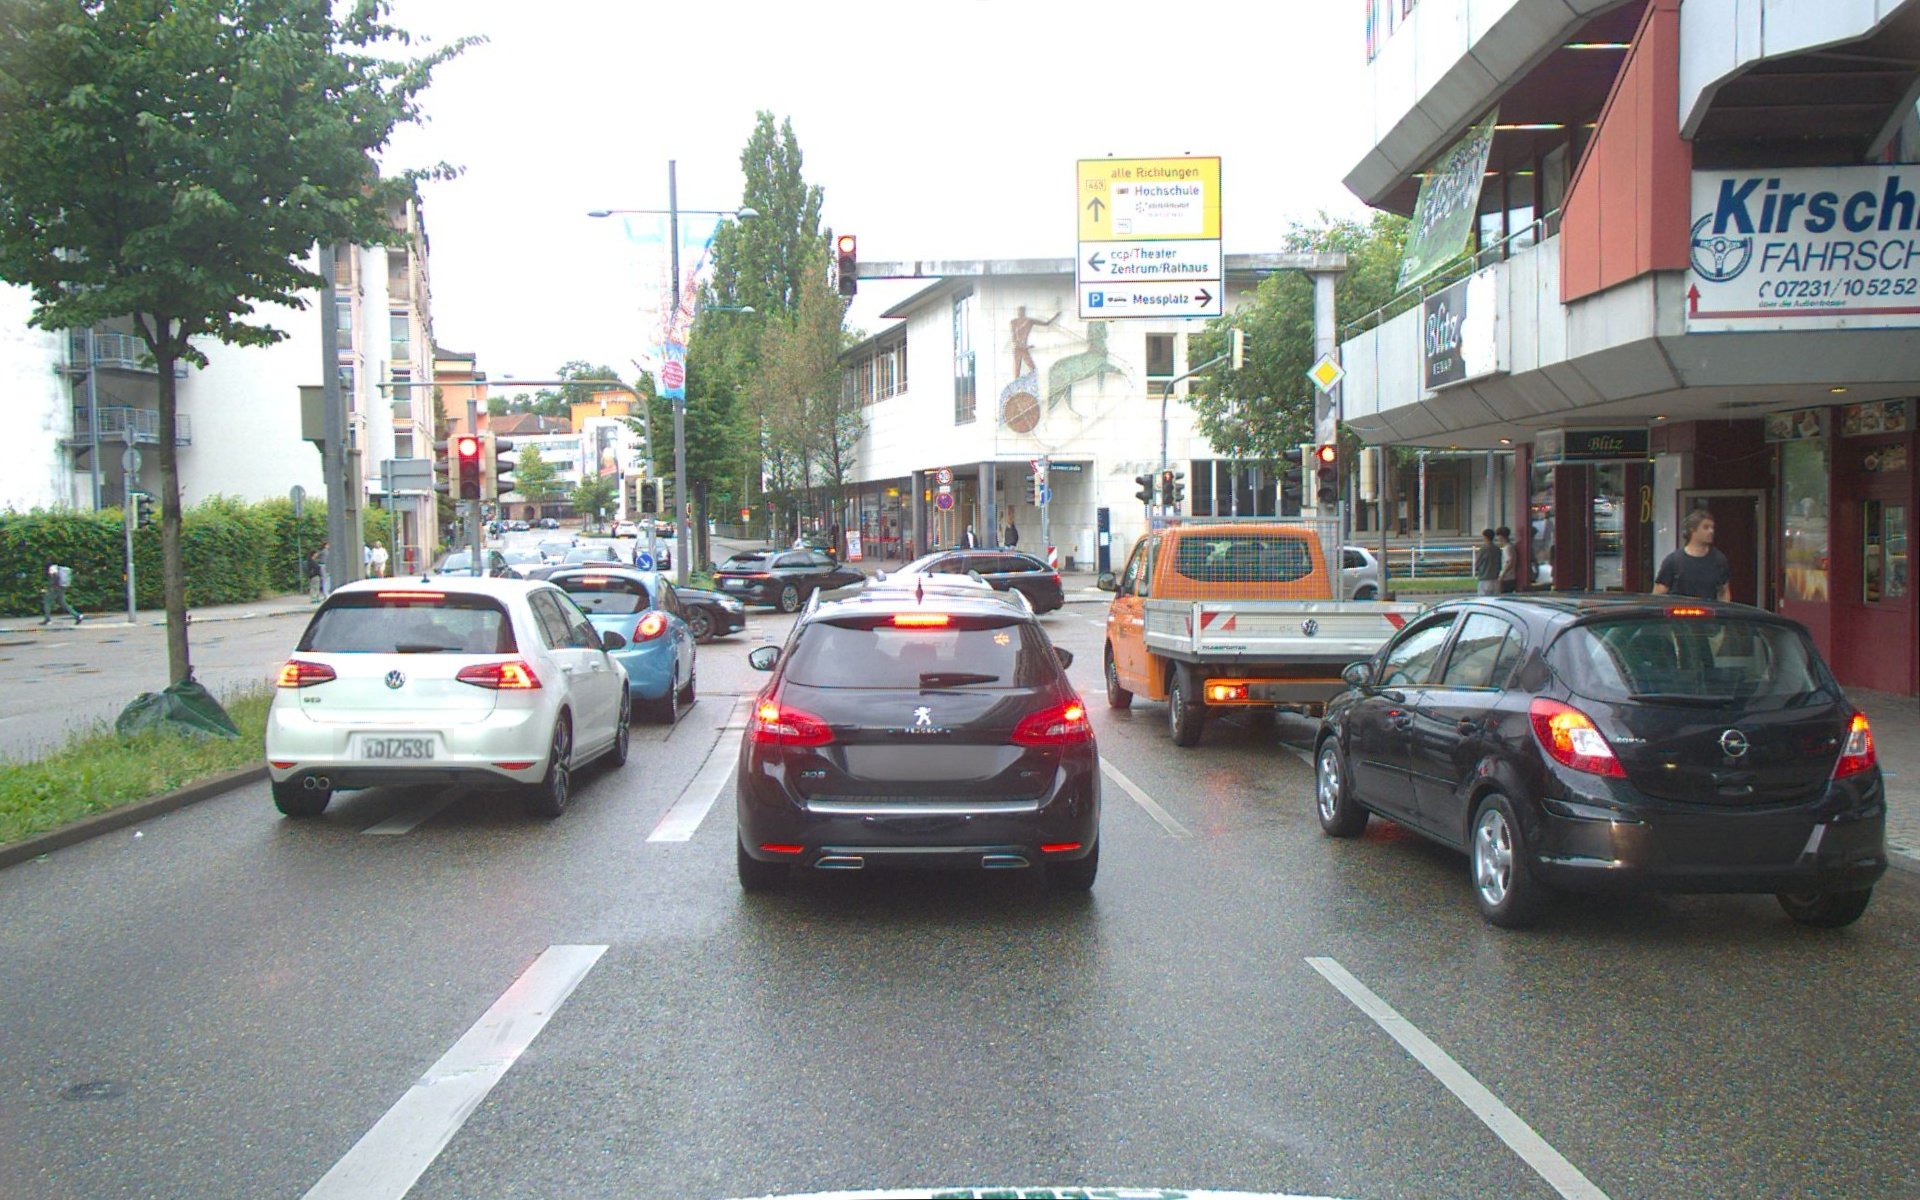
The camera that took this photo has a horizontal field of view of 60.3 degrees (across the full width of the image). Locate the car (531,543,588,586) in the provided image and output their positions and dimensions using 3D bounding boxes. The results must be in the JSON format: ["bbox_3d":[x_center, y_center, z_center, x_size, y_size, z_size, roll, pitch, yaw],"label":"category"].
[{"bbox_3d":[-14.677,-1.329,60.736,1.602,1.512,3.605,1,2,-7],"label":"car"}]

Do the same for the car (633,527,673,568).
[{"bbox_3d":[-14.054,-2.369,75.661,1.713,1.669,3.989,1,-1,-11],"label":"car"}]

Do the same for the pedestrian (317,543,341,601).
[{"bbox_3d":[-19.580,-0.870,51.337,0.528,1.778,0.564,1,-1,-6],"label":"pedestrian"}]

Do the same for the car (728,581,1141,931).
[{"bbox_3d":[-0.190,0.647,8.956,1.742,1.454,3.840,1,1,-3],"label":"car"}]

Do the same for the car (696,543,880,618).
[{"bbox_3d":[-4.001,-0.494,39.212,1.757,1.479,4.491,0,4,36],"label":"car"}]

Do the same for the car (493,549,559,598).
[{"bbox_3d":[-14.222,-0.892,54.390,1.602,1.512,3.605,1,2,-7],"label":"car"}]

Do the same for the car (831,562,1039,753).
[{"bbox_3d":[-0.234,0.421,15.269,1.662,1.512,3.793,1,2,-1],"label":"car"}]

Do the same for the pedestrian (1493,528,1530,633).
[{"bbox_3d":[8.921,-0.313,26.757,0.388,1.668,0.504,-1,-1,0],"label":"pedestrian"}]

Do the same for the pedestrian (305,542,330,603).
[{"bbox_3d":[-19.320,-0.818,49.721,0.529,1.778,0.746,1,-1,-9],"label":"pedestrian"}]

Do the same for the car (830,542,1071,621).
[{"bbox_3d":[-0.218,-0.379,33.416,4.638,1.512,1.634,0,1,-11],"label":"car"}]

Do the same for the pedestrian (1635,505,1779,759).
[{"bbox_3d":[5.741,0.241,12.755,0.726,1.847,0.774,-4,-1,11],"label":"pedestrian"}]

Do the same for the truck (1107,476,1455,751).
[{"bbox_3d":[2.827,0.044,15.914,2.133,2.210,5.018,1,2,-3],"label":"truck"}]

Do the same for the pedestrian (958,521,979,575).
[{"bbox_3d":[0.287,-1.738,55.915,0.623,1.788,0.734,1,-1,6],"label":"pedestrian"}]

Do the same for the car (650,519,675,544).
[{"bbox_3d":[-26.435,-6.065,146.881,1.679,1.970,3.980,1,-1,-18],"label":"car"}]

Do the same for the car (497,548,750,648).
[{"bbox_3d":[-5.807,-0.059,28.785,4.152,1.592,1.700,-1,1,-12],"label":"car"}]

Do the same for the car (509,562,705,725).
[{"bbox_3d":[-3.605,0.378,17.413,1.601,1.512,3.606,1,2,-6],"label":"car"}]

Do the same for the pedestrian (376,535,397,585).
[{"bbox_3d":[-20.719,-1.434,59.730,0.584,1.758,0.655,1,-1,-9],"label":"pedestrian"}]

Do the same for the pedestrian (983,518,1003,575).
[{"bbox_3d":[1.148,-1.858,57.156,0.623,1.930,0.734,1,-1,6],"label":"pedestrian"}]

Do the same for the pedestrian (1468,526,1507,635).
[{"bbox_3d":[8.422,-0.305,26.408,0.417,1.712,0.450,-1,-1,-2],"label":"pedestrian"}]

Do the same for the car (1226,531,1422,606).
[{"bbox_3d":[7.851,-0.650,35.720,3.828,1.512,1.618,1,-1,-13],"label":"car"}]

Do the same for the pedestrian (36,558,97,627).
[{"bbox_3d":[-21.267,-0.171,39.383,1.041,1.606,0.683,1,-1,-5],"label":"pedestrian"}]

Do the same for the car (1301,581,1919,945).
[{"bbox_3d":[3.089,0.648,8.681,1.584,1.454,3.839,1,1,-4],"label":"car"}]

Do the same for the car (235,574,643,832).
[{"bbox_3d":[-3.347,0.564,11.395,1.742,1.454,3.840,1,1,-3],"label":"car"}]

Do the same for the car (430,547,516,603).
[{"bbox_3d":[-13.709,-0.728,46.717,1.543,1.512,3.607,1,2,-4],"label":"car"}]

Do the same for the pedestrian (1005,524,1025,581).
[{"bbox_3d":[1.905,-1.648,57.208,0.623,1.930,0.734,1,-1,6],"label":"pedestrian"}]

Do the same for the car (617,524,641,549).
[{"bbox_3d":[-29.142,-5.562,145.606,1.679,1.915,3.980,1,-1,-18],"label":"car"}]

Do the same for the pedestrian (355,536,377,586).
[{"bbox_3d":[-21.274,-1.376,59.248,0.584,1.758,0.655,1,-1,-9],"label":"pedestrian"}]

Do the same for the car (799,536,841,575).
[{"bbox_3d":[-6.110,-1.909,71.883,1.692,1.516,4.725,1,-1,-7],"label":"car"}]

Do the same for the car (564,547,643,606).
[{"bbox_3d":[-10.562,-0.669,49.224,1.710,1.607,3.996,1,-1,-4],"label":"car"}]
